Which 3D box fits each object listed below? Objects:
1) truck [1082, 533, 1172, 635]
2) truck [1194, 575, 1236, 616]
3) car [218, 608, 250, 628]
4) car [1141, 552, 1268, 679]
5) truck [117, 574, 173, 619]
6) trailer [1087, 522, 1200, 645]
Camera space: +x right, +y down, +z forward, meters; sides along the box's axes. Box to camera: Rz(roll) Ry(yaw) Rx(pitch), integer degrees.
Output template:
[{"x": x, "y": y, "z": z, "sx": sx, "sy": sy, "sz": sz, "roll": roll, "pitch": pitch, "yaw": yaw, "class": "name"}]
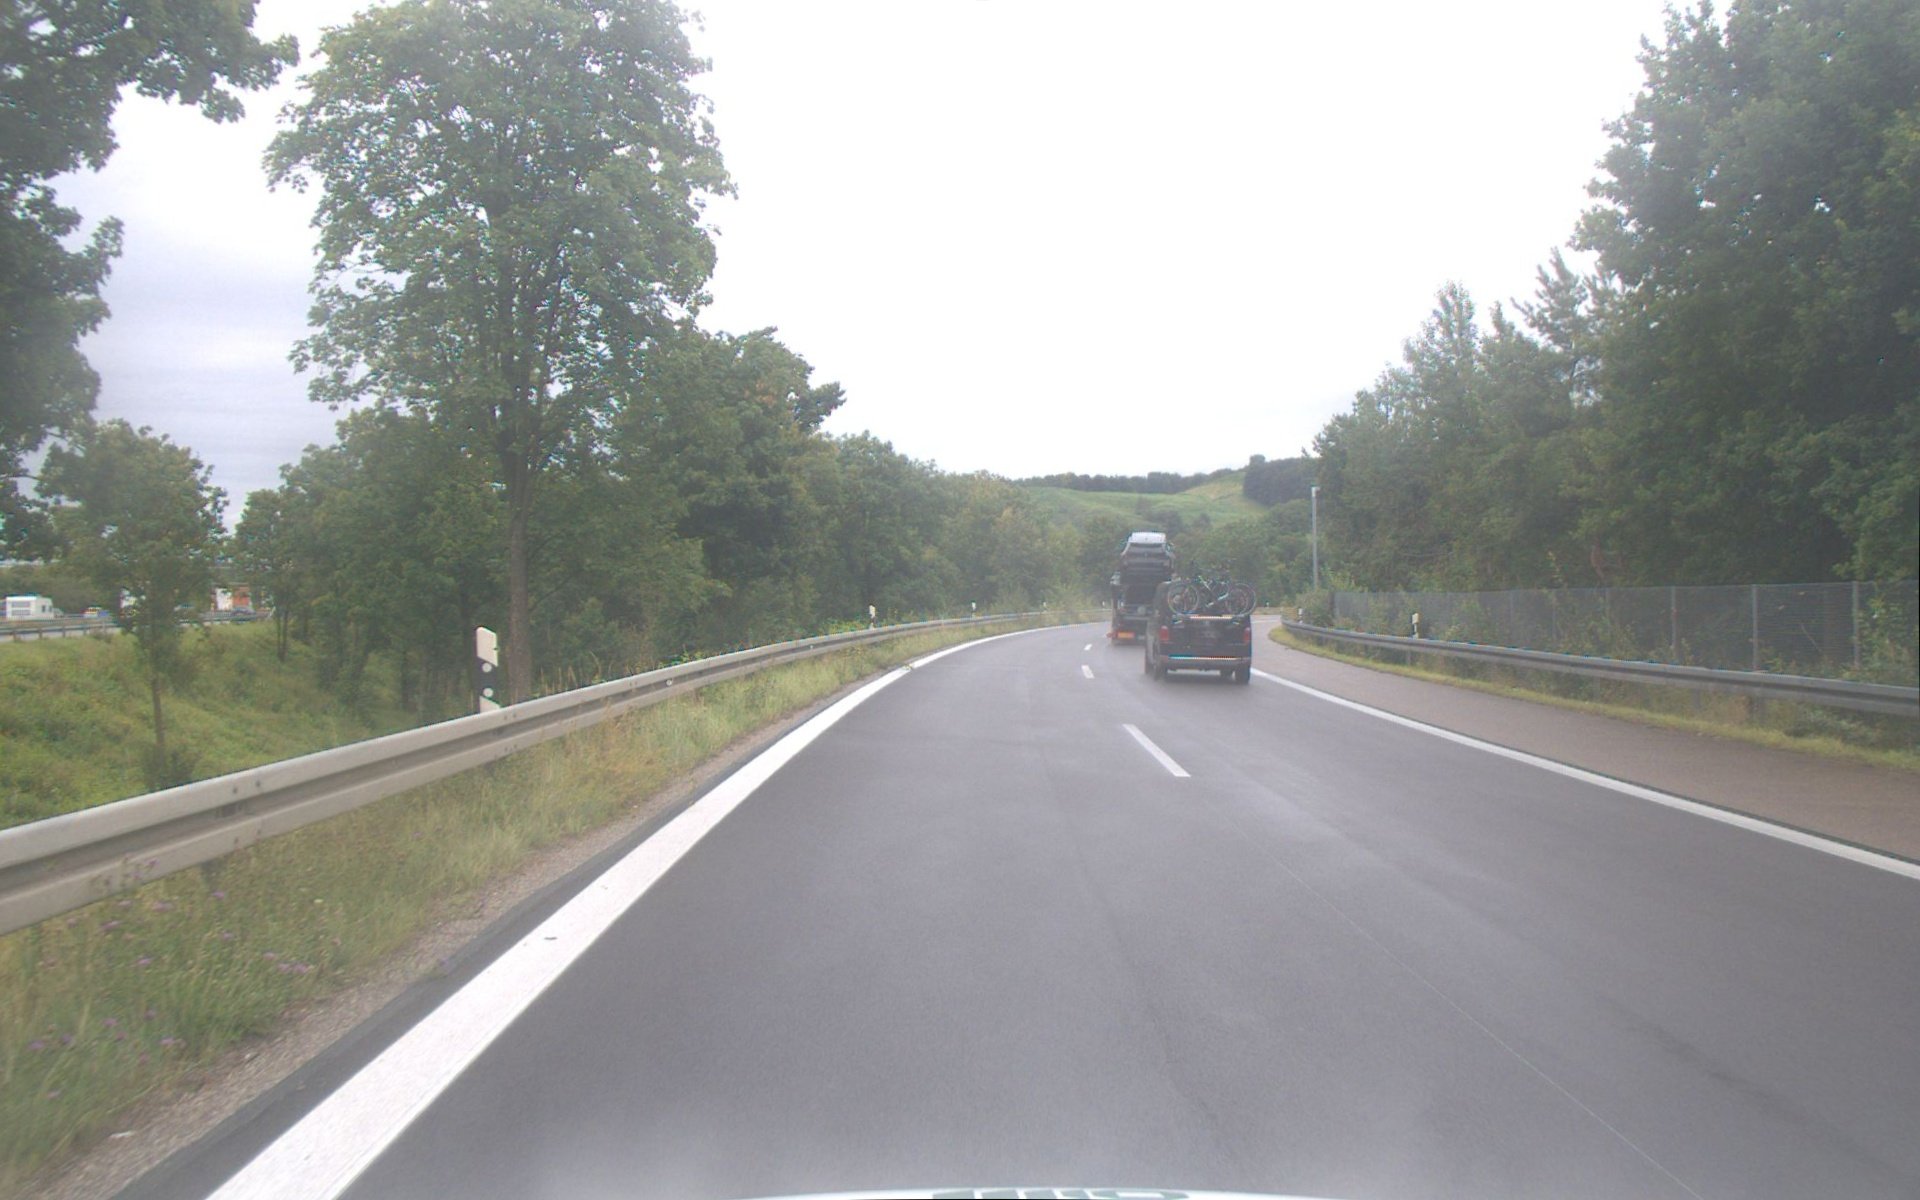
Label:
[{"x": 7.264, "y": -0.689, "z": 73.466, "sx": 3.324, "sy": 4.069, "sz": 10.851, "roll": 2, "pitch": 0, "yaw": 3, "class": "truck"}, {"x": 17.421, "y": -0.336, "z": 112.828, "sx": 2.592, "sy": 2.651, "sz": 6.425, "roll": -1, "pitch": 0, "yaw": 11, "class": "truck"}, {"x": -63.275, "y": 1.579, "z": 144.166, "sx": 1.930, "sy": 1.666, "sz": 5.598, "roll": 0, "pitch": 0, "yaw": -17, "class": "car"}, {"x": 4.800, "y": 0.258, "z": 33.250, "sx": 2.065, "sy": 2.304, "sz": 5.900, "roll": 0, "pitch": 0, "yaw": 4, "class": "car"}, {"x": -84.550, "y": -0.363, "z": 171.780, "sx": 3.674, "sy": 4.494, "sz": 10.146, "roll": 0, "pitch": 0, "yaw": -17, "class": "truck"}, {"x": 6.674, "y": -0.602, "z": 61.968, "sx": 3.377, "sy": 4.069, "sz": 12.031, "roll": 2, "pitch": 0, "yaw": 3, "class": "trailer"}]
